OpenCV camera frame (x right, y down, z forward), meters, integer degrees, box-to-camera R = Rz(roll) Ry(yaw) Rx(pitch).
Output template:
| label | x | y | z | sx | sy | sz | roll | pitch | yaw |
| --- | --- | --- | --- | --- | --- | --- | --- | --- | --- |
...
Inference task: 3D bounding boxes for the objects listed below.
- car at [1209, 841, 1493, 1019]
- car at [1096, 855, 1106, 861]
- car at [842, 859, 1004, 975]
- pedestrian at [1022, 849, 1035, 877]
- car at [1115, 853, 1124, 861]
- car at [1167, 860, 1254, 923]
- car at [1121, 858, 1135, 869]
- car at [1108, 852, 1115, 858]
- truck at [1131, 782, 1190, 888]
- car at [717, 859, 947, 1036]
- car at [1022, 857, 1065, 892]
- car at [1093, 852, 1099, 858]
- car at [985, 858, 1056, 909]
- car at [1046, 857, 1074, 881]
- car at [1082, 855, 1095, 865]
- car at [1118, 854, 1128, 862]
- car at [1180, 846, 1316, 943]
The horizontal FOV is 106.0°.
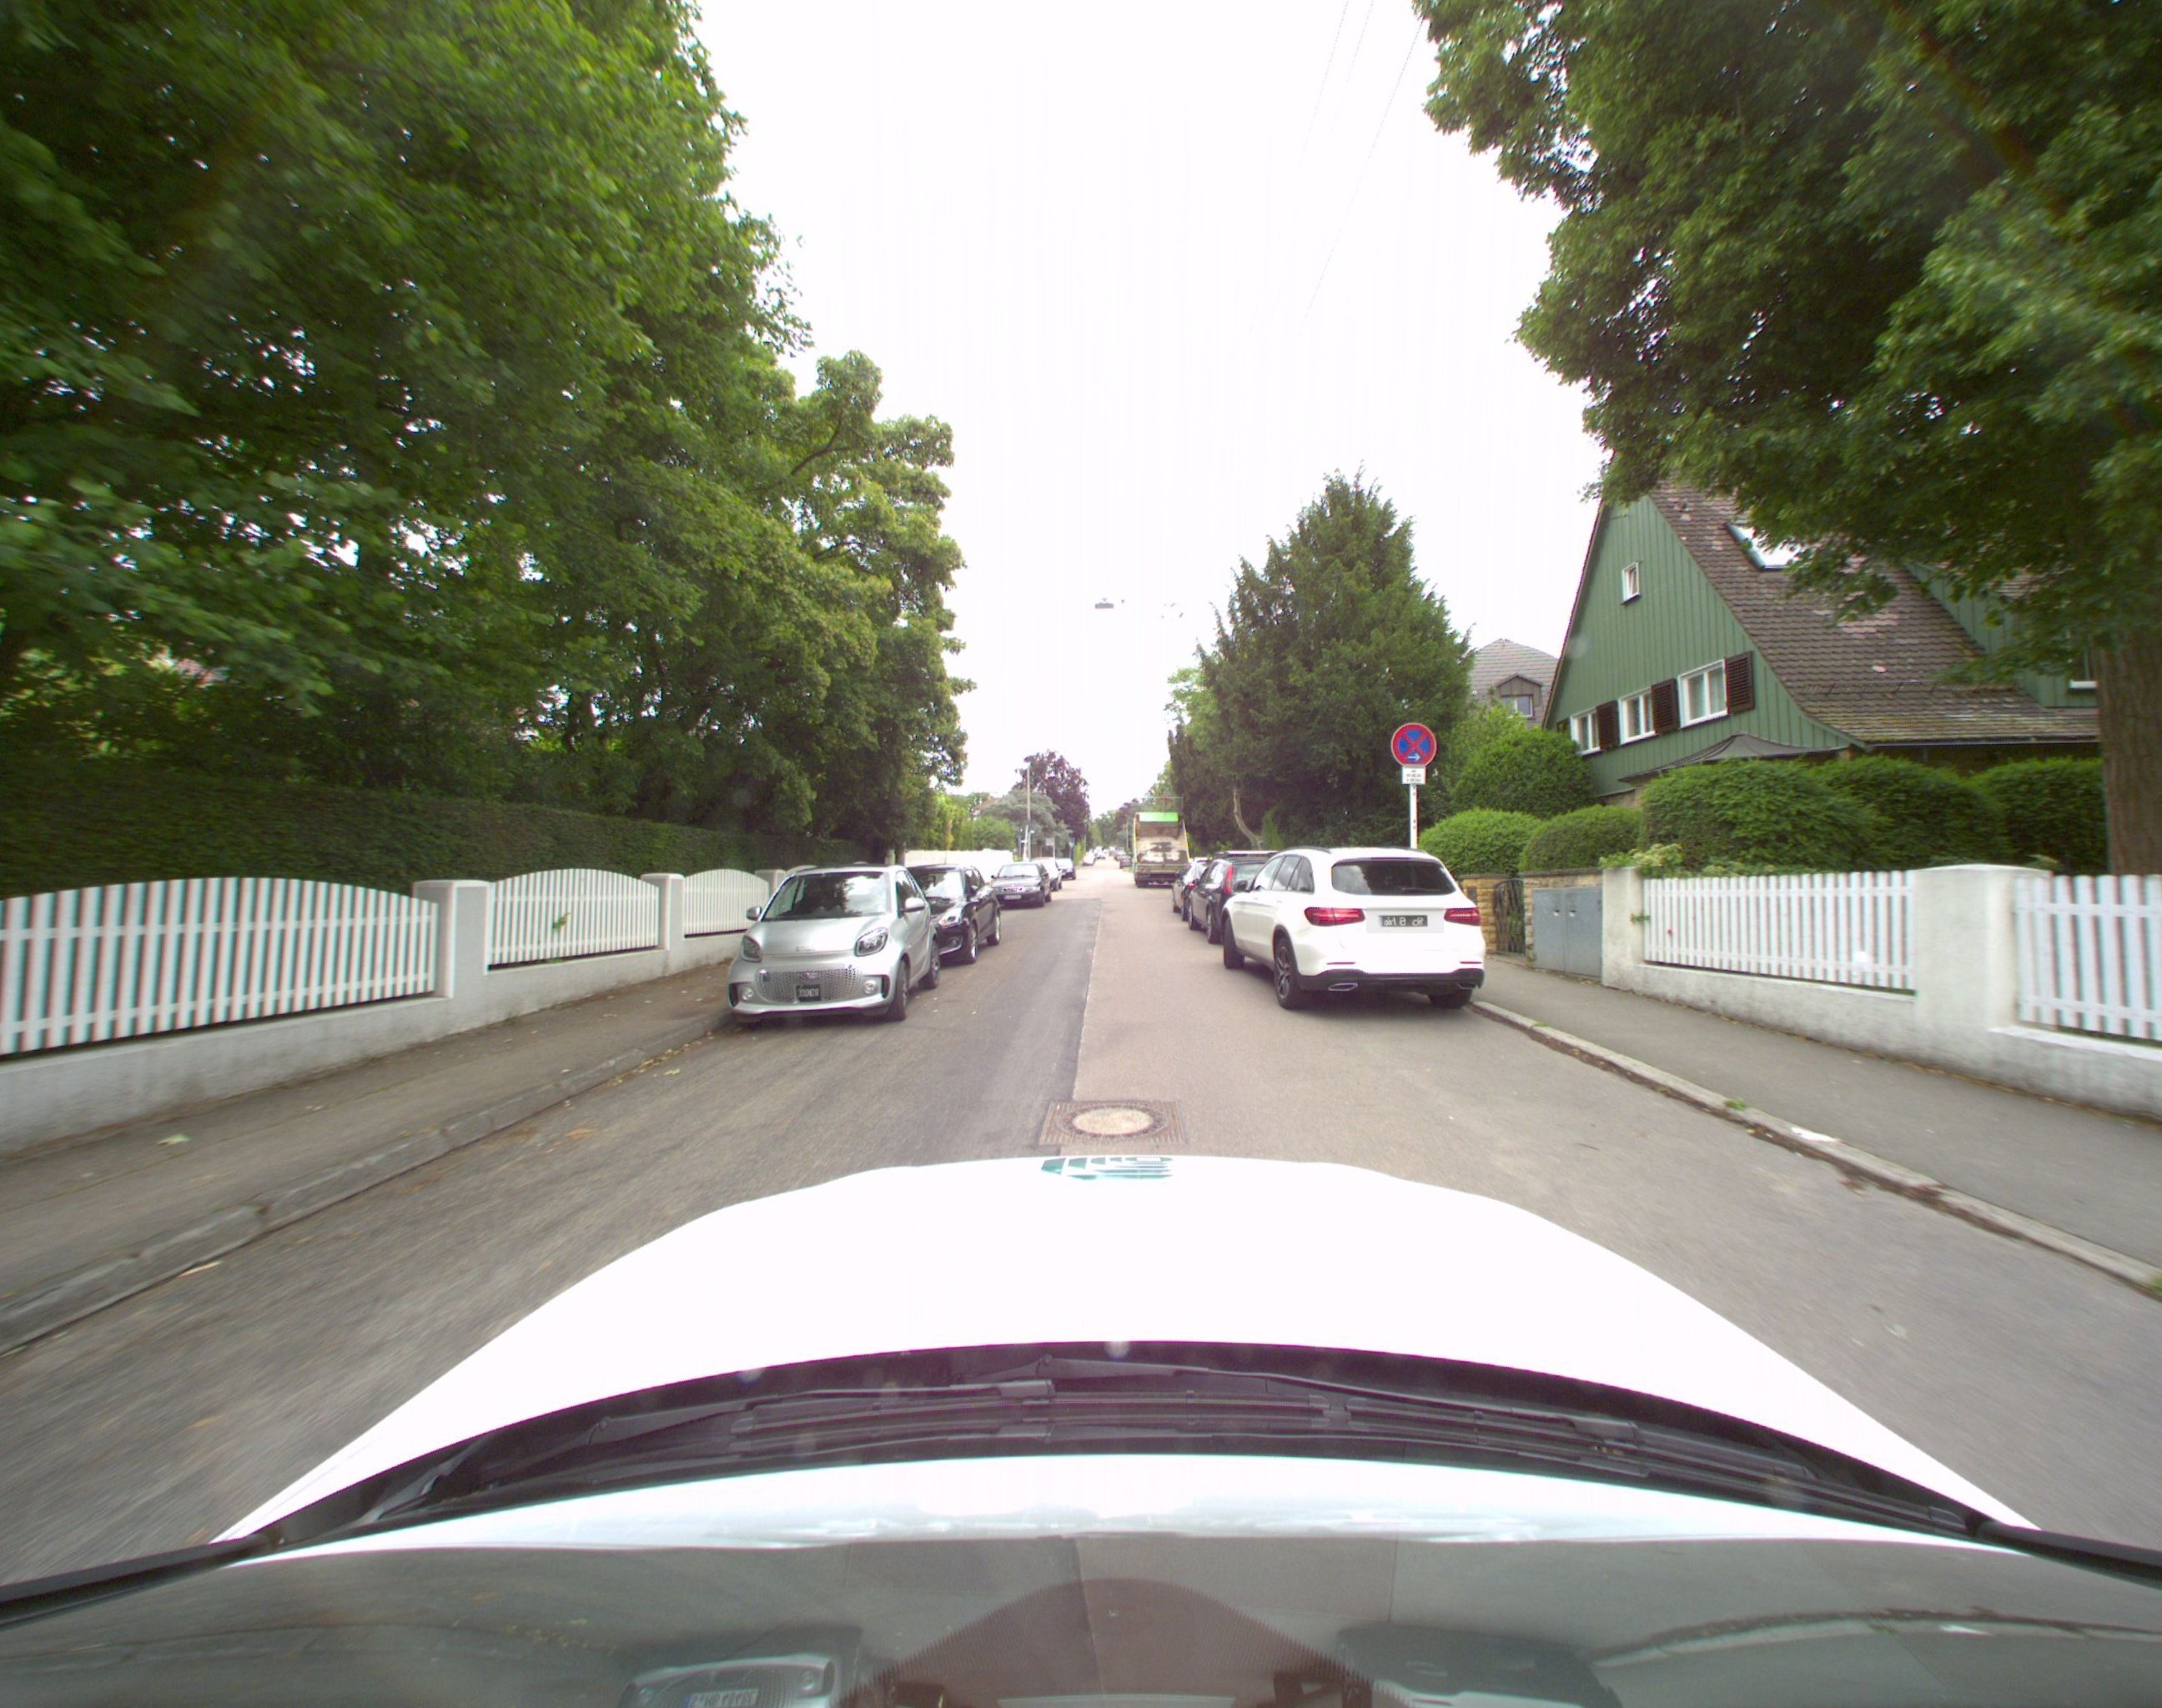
| label | x | y | z | sx | sy | sz | roll | pitch | yaw |
| --- | --- | --- | --- | --- | --- | --- | --- | --- | --- |
| car | 2.827 | 0.703 | 9.694 | 1.753 | 1.606 | 4.572 | 0 | 0 | -2 |
| car | 4.269 | 0.862 | 174.100 | 1.720 | 1.407 | 3.809 | -1 | 0 | 6 |
| car | -2.372 | 0.885 | 13.239 | 1.648 | 1.481 | 3.890 | -3 | 0 | 2 |
| pedestrian | -3.831 | 0.653 | 59.367 | 0.850 | 2.014 | 0.700 | 1 | -1 | -3 |
| car | 7.804 | 0.529 | 163.198 | 1.782 | 1.529 | 3.737 | 0 | 0 | 3 |
| car | 3.179 | 0.867 | 20.795 | 1.646 | 1.424 | 4.663 | 0 | 0 | 2 |
| car | 6.301 | 1.251 | 110.030 | 1.772 | 1.489 | 4.000 | -1 | 0 | 1 |
| car | 7.754 | 0.268 | 208.743 | 1.628 | 1.701 | 3.495 | 0 | 0 | 1 |
| truck | 3.815 | -0.844 | 40.372 | 2.514 | 4.748 | 7.191 | 0 | 0 | 2 |
| car | -2.531 | 0.866 | 8.981 | 1.617 | 1.533 | 2.960 | -3 | 0 | -2 |
| car | -1.695 | 0.914 | 37.832 | 1.589 | 1.433 | 4.003 | -3 | 0 | 3 |
| car | 4.128 | 0.265 | 218.540 | 1.621 | 1.386 | 3.599 | 1 | 0 | 1 |
| car | -1.882 | 0.907 | 26.599 | 1.633 | 1.422 | 4.554 | -3 | 0 | 4 |
| car | -1.322 | 0.937 | 53.342 | 1.631 | 1.395 | 3.989 | -3 | 0 | 0 |
| car | 1.228 | 0.887 | 130.095 | 1.703 | 1.586 | 4.005 | 0 | 0 | 5 |
| car | 7.877 | 0.705 | 153.646 | 1.804 | 1.335 | 3.633 | 1 | 1 | 1 |
| car | 3.018 | 0.682 | 15.581 | 1.693 | 1.570 | 4.308 | -1 | 0 | 0 |
